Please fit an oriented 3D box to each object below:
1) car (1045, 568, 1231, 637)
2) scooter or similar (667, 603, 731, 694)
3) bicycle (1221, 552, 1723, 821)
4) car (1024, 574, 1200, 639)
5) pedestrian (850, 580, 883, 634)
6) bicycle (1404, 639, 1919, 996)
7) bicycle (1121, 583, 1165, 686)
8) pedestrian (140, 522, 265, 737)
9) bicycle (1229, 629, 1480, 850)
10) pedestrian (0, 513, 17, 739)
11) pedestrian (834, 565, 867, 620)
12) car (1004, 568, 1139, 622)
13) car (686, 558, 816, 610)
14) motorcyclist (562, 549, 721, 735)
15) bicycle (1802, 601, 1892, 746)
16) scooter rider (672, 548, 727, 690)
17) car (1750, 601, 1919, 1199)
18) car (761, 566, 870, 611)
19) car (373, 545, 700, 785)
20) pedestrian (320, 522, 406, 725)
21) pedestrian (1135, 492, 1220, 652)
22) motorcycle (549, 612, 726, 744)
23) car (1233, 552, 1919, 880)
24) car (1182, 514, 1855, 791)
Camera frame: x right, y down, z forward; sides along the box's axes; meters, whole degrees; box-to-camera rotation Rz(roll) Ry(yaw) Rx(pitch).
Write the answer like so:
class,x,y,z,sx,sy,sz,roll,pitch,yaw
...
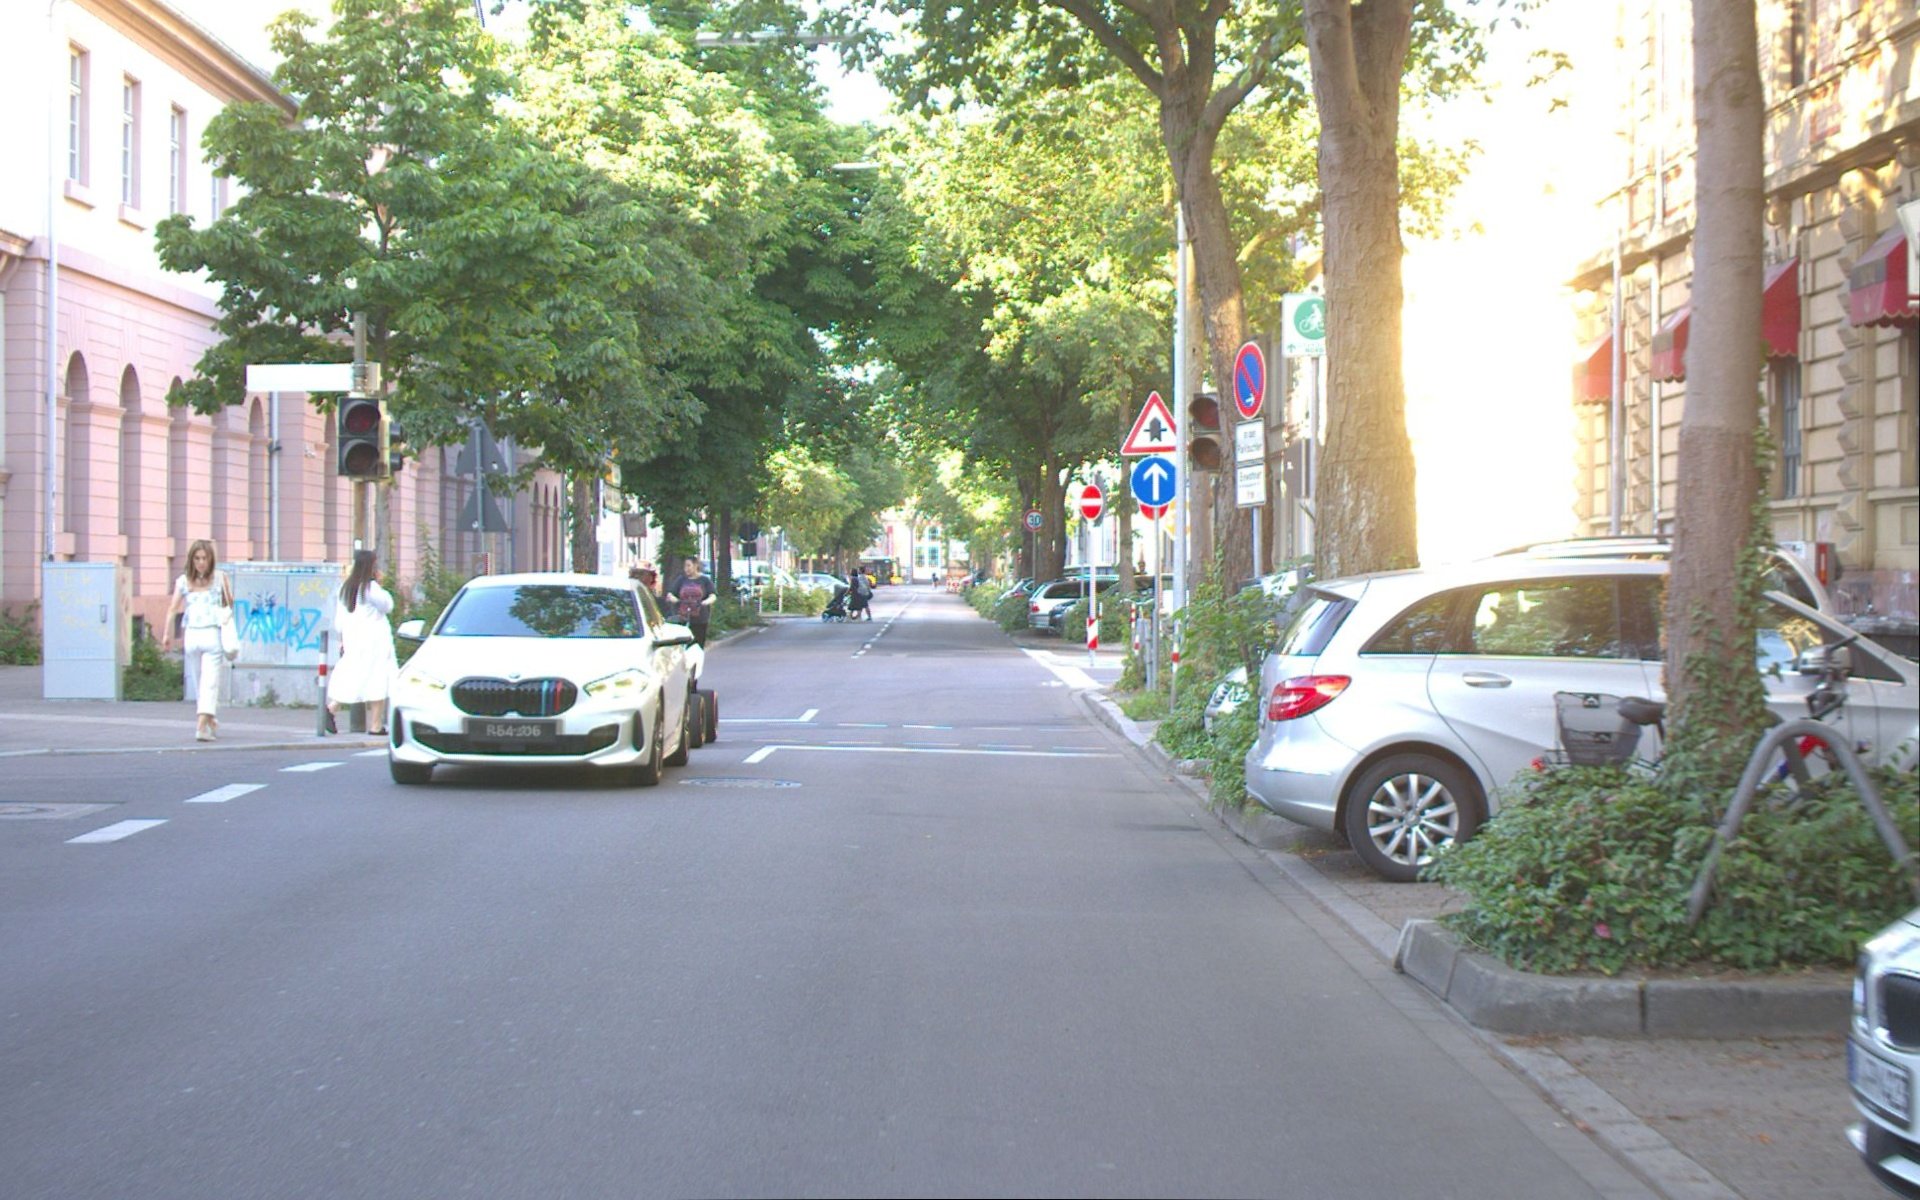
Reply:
class,x,y,z,sx,sy,sz,roll,pitch,yaw
car,4.049,0.054,78.604,4.107,1.485,1.850,1,1,-1
scooter or similar,-3.303,0.609,43.614,0.502,1.141,1.249,0,0,10
bicycle,3.296,0.553,22.242,3.112,1.657,0.658,1,0,-4
car,3.675,0.157,83.666,4.192,1.475,1.852,-1,1,0
pedestrian,-2.869,0.216,105.292,0.875,1.644,0.655,1,0,7
bicycle,2.699,0.780,12.711,2.019,1.200,0.488,-2,0,-12
bicycle,2.467,0.453,46.258,0.417,1.368,1.287,0,0,11
pedestrian,-6.488,0.242,29.462,0.790,1.785,0.771,3,1,3
bicycle,2.207,0.775,19.305,1.337,1.200,0.488,-1,0,-1
pedestrian,-8.137,0.214,28.177,0.554,1.844,0.611,1,2,14
pedestrian,-3.338,-0.222,104.621,0.875,1.644,0.655,1,0,7
car,3.370,-0.172,104.645,4.014,1.617,1.781,0,0,-1
car,-8.341,-0.655,137.604,5.064,2.076,2.263,0,1,0
motorcyclist,-2.770,0.355,30.016,1.280,1.586,1.077,0,0,0
bicycle,7.700,0.622,29.902,0.385,1.207,1.725,0,0,2
scooter rider,-3.300,0.243,43.650,0.494,1.785,0.874,0,-1,10
car,4.153,0.731,7.189,4.583,1.432,1.925,0,1,2
car,-6.837,-0.551,163.045,5.064,2.076,2.263,0,1,2
car,-2.903,0.399,24.391,1.877,1.543,4.275,0,1,-1
pedestrian,-5.620,0.214,32.341,0.768,1.882,0.793,0,0,-12
pedestrian,2.977,-0.383,47.145,1.043,2.139,1.063,2,0,0
motorcycle,-2.770,0.664,29.855,1.312,1.086,2.396,0,-1,0
car,3.538,0.546,17.469,4.225,1.555,1.970,0,1,3
car,3.988,0.355,25.079,4.540,1.908,1.950,0,0,-2
